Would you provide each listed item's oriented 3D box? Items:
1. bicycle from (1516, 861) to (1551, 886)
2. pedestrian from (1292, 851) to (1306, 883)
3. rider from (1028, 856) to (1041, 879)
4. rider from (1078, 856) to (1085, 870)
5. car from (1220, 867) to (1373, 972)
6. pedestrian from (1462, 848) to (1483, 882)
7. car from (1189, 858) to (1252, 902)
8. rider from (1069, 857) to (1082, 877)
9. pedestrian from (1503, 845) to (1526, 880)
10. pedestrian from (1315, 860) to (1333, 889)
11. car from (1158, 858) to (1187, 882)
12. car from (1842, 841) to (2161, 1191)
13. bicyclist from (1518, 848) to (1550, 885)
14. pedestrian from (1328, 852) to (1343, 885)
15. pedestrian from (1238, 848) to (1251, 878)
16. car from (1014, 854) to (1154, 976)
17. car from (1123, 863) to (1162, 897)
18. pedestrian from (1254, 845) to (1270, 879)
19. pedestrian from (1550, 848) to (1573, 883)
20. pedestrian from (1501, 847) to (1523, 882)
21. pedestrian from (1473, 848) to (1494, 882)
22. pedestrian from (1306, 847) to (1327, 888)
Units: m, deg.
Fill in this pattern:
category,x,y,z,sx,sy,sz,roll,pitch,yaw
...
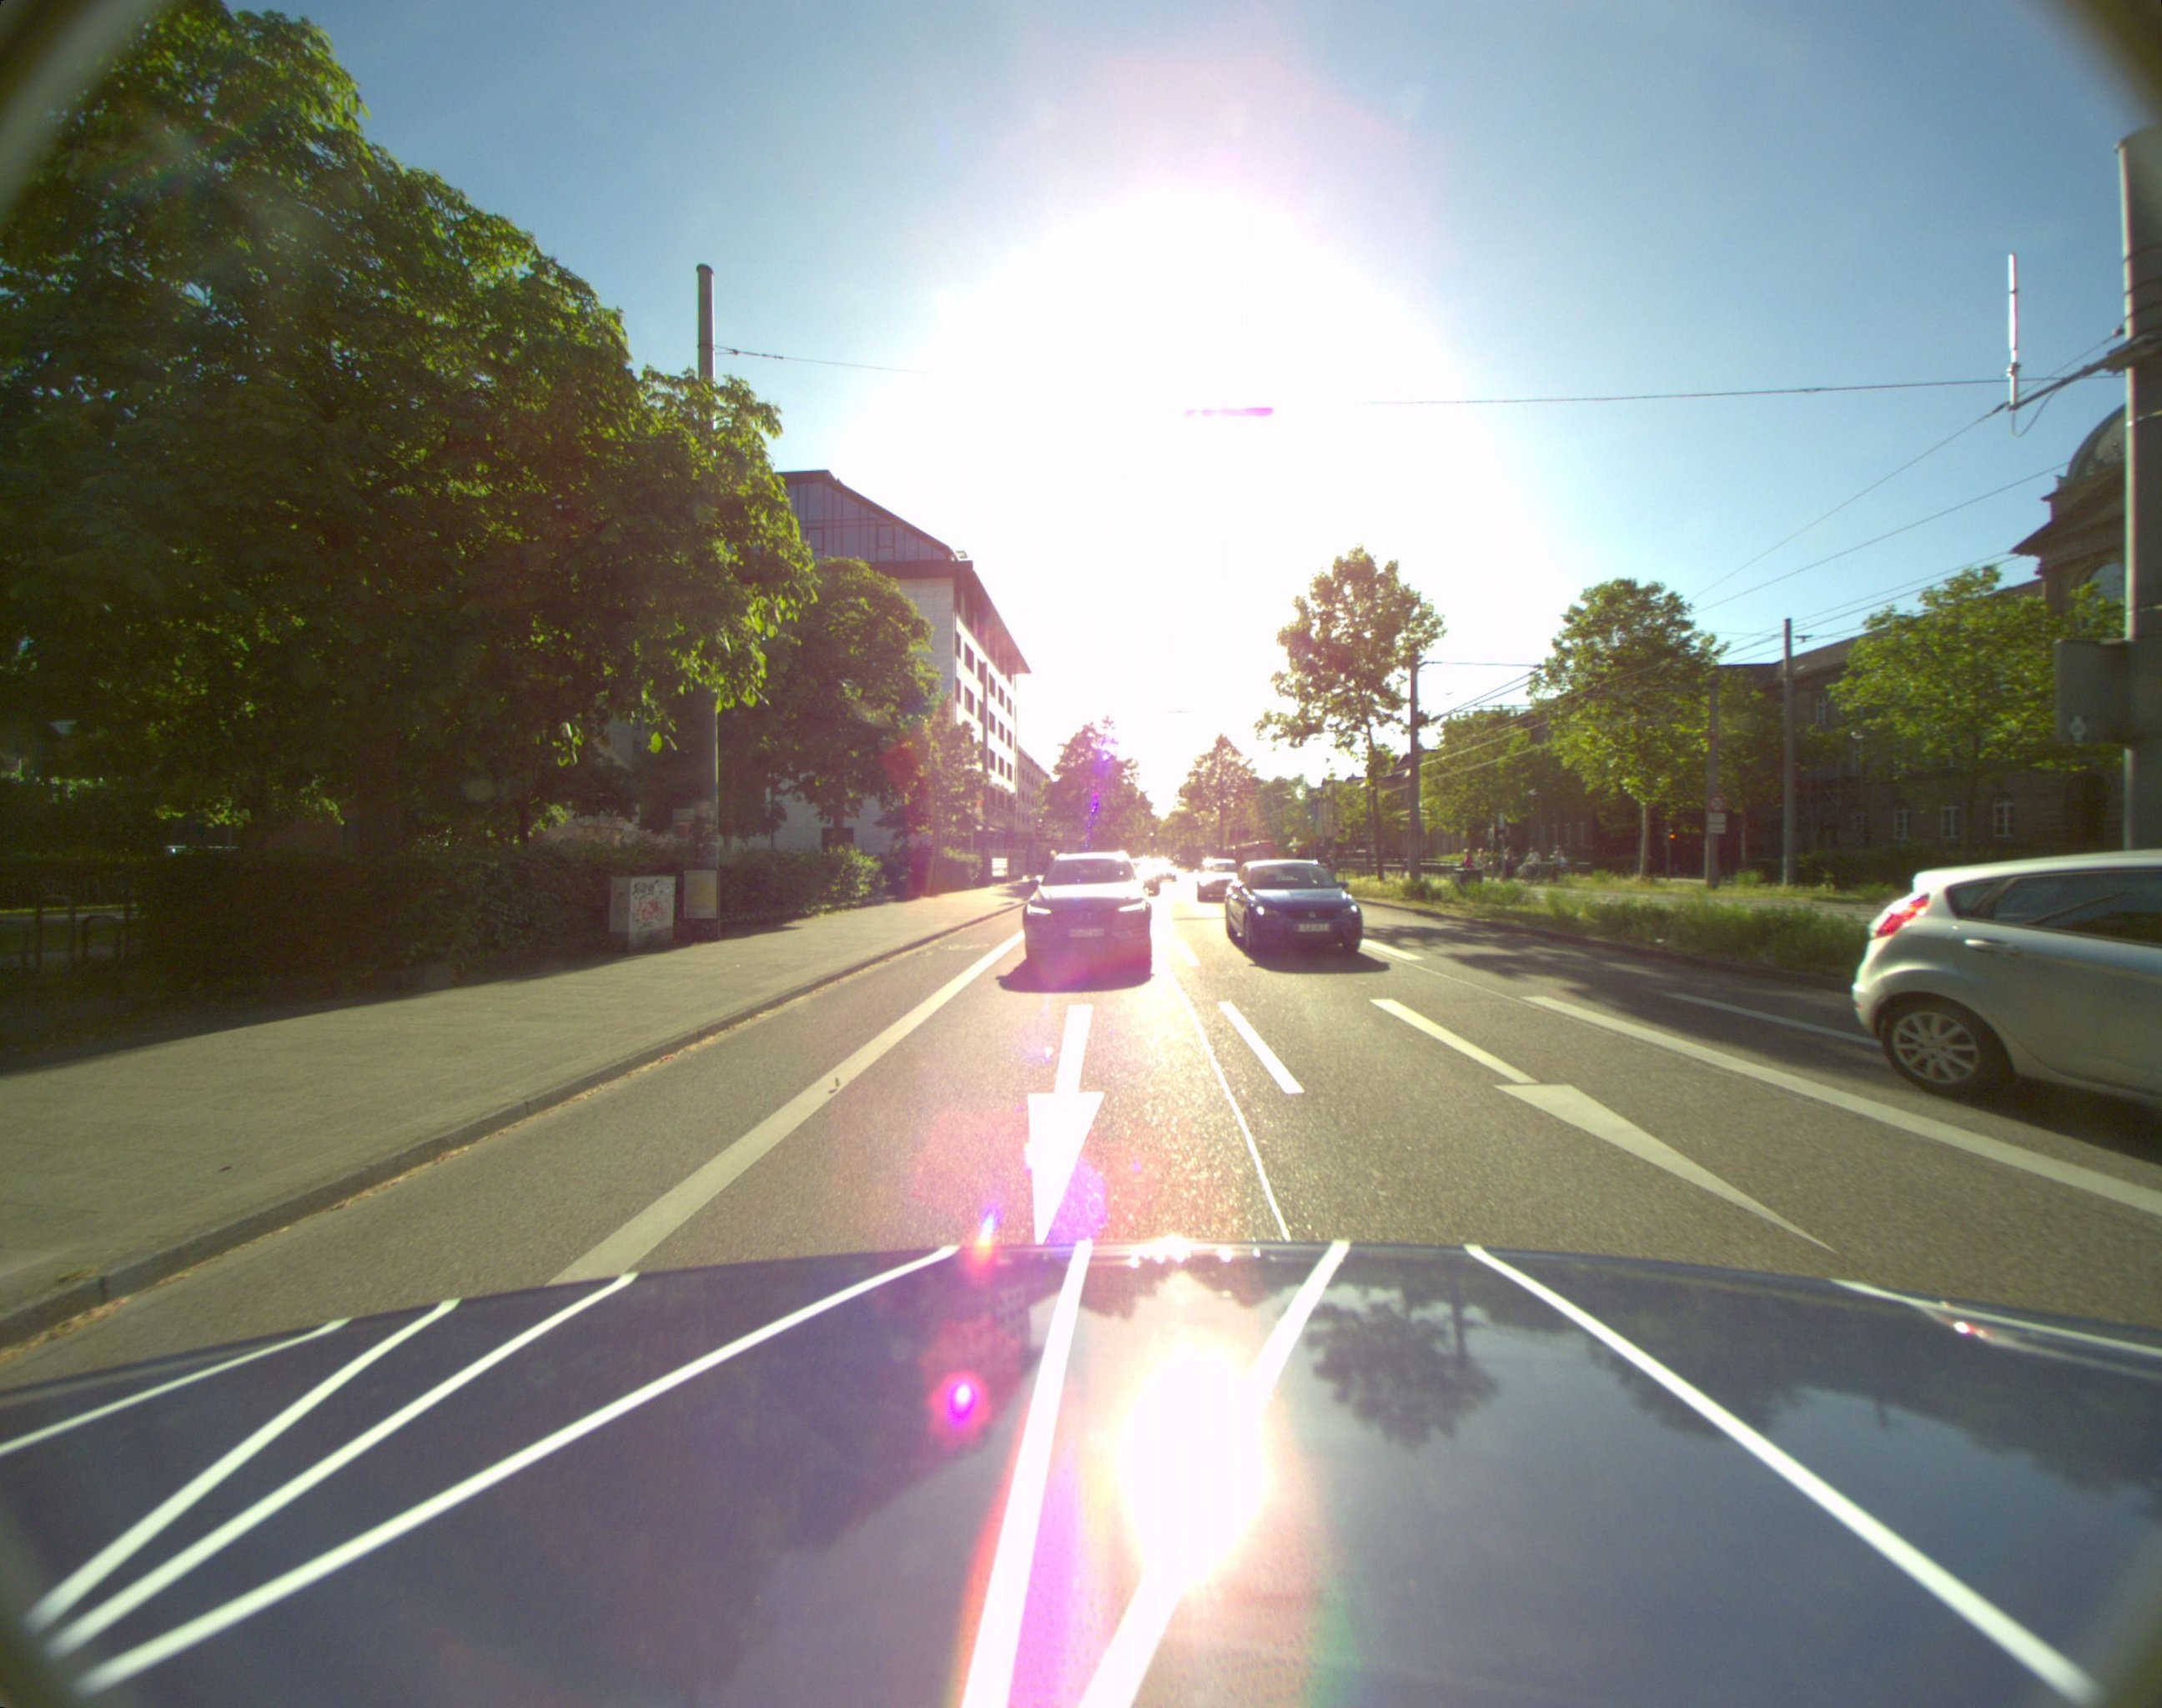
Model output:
category,x,y,z,sx,sy,sz,roll,pitch,yaw
bicycle,20.668,0.870,34.667,1.666,1.035,0.543,-3,1,-27
pedestrian,11.505,0.676,40.123,0.580,1.652,0.667,-2,0,13
rider,-3.156,0.928,51.851,0.778,1.582,0.790,0,0,1
rider,0.004,1.132,94.871,0.759,1.717,0.895,-2,0,3
car,3.501,0.991,13.049,1.777,1.439,3.870,-2,0,5
pedestrian,20.410,0.557,39.648,0.595,1.735,0.698,-3,1,-28
car,5.088,0.907,28.170,1.798,1.420,4.001,-2,0,4
rider,-0.461,1.081,63.578,0.924,1.668,0.978,-2,0,5
pedestrian,21.625,0.435,37.906,0.595,1.726,0.698,-3,1,-28
pedestrian,10.480,0.869,32.760,0.594,1.226,0.425,-2,0,-6
car,6.460,1.107,53.449,1.774,1.567,3.825,-2,0,10
car,5.864,0.742,3.014,1.667,1.586,3.862,-2,0,-3
bicyclist,20.661,0.567,34.626,0.970,1.634,0.833,-2,0,-28
pedestrian,12.927,0.724,38.614,0.544,1.652,0.730,-2,0,9
pedestrian,11.197,0.631,52.178,0.711,2.002,0.787,-2,0,6
car,0.174,0.871,13.276,1.948,1.690,5.307,-1,0,3
car,2.781,1.098,33.727,1.604,1.386,4.002,0,0,6
pedestrian,11.935,0.529,50.004,0.785,2.174,0.801,-2,1,25
pedestrian,22.619,0.524,35.778,0.595,1.612,0.698,-3,1,-28
pedestrian,20.934,0.515,36.881,0.595,1.634,0.698,-3,1,-32
pedestrian,20.291,0.554,38.298,0.595,1.666,0.698,-3,1,-28
pedestrian,10.315,0.588,33.287,0.647,1.796,0.504,-2,0,-6
